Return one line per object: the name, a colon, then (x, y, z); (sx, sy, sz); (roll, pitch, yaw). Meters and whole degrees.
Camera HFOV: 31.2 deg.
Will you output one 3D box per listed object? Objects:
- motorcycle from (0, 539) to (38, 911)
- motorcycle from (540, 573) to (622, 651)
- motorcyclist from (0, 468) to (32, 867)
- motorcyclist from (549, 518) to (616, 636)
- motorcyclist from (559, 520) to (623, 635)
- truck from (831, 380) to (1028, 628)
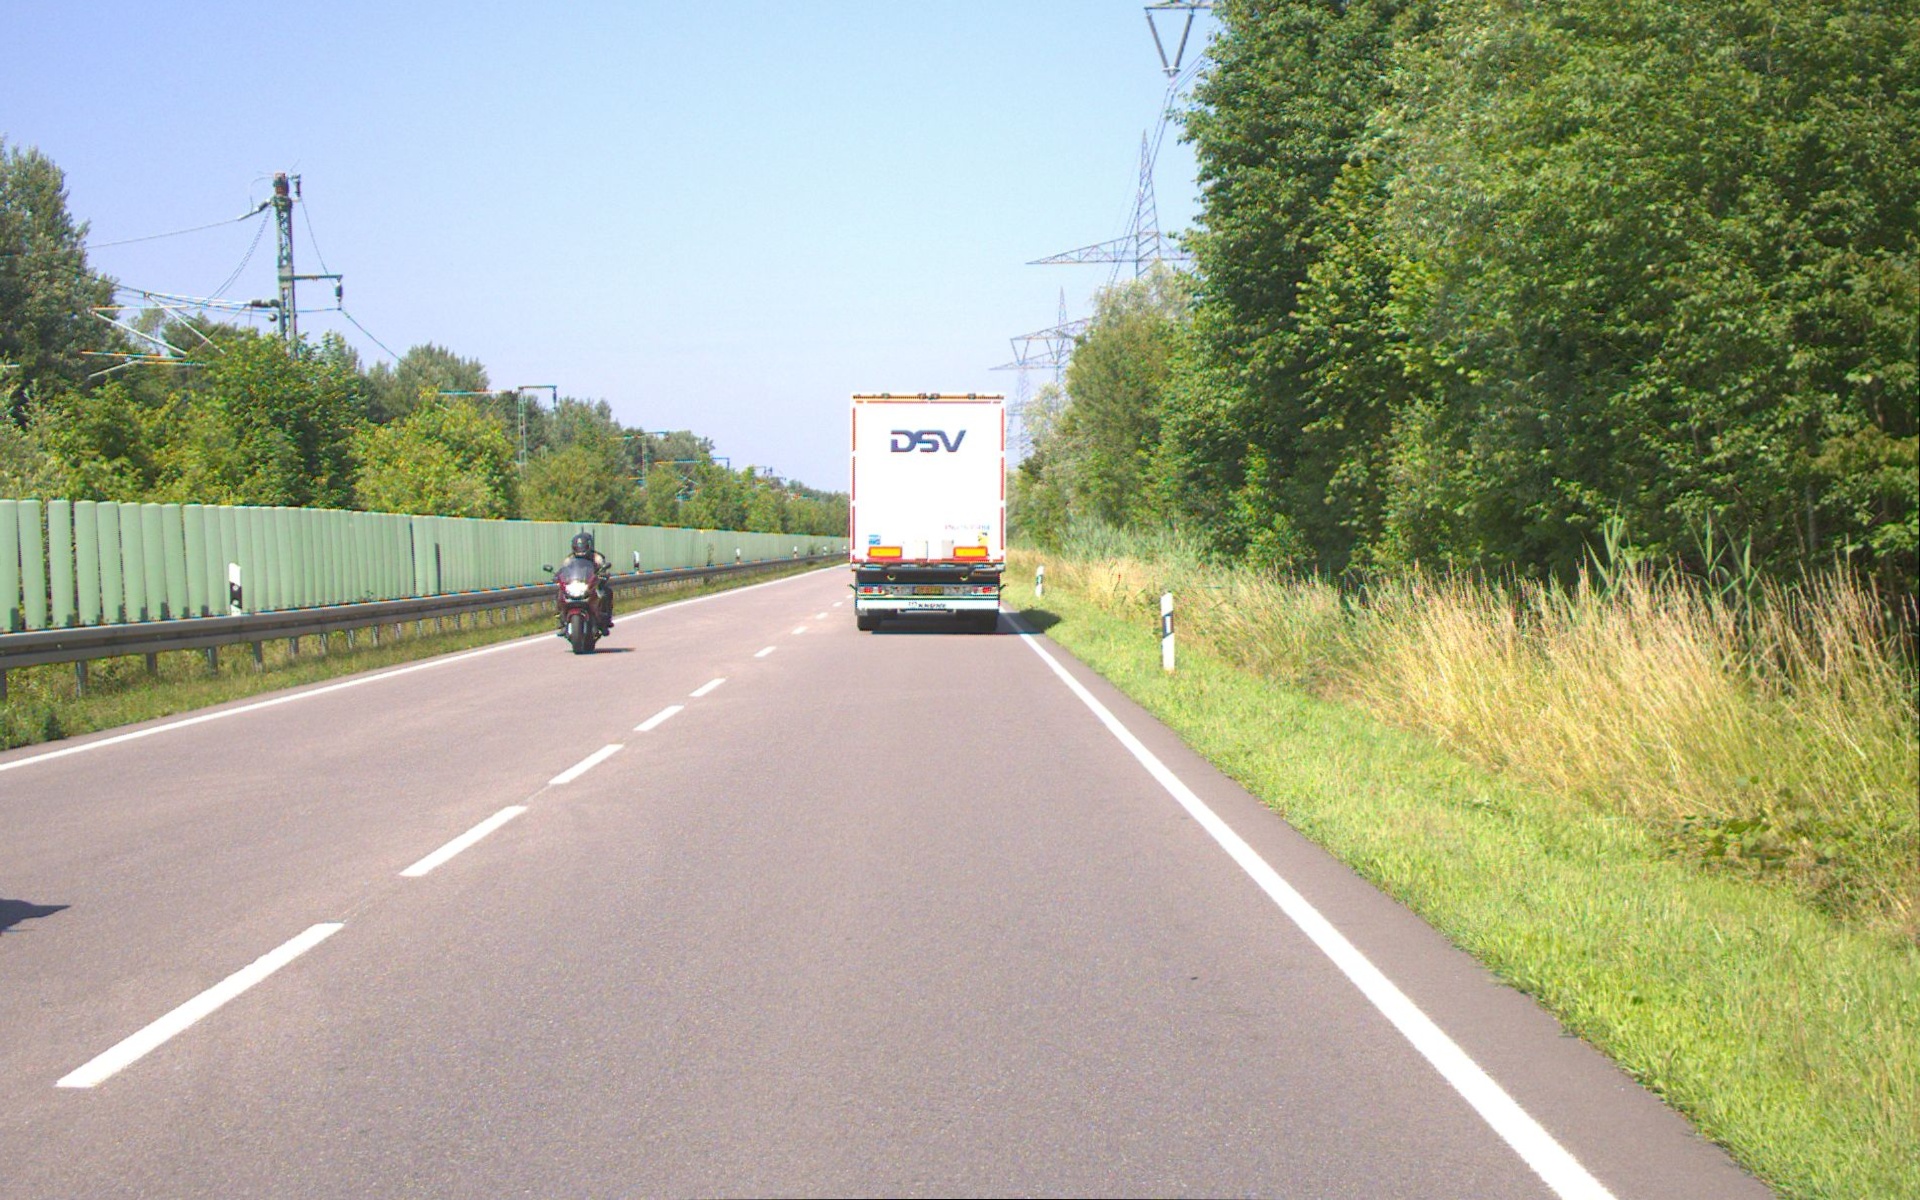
motorcycle: (-4.353, 0.516, 12.988); (0.968, 1.491, 2.630); (-1, 1, 1)
motorcycle: (-5.171, 0.148, 47.079); (0.754, 1.010, 2.721); (1, 1, 1)
motorcyclist: (-4.332, 0.267, 13.696); (0.959, 1.604, 1.003); (1, 1, 1)
motorcyclist: (-5.155, -0.313, 46.969); (0.758, 1.577, 1.003); (1, 1, 1)
motorcyclist: (-5.142, -0.319, 47.920); (0.749, 1.577, 0.863); (1, 1, 1)
truck: (-0.584, -1.676, 62.031); (3.192, 4.029, 12.008); (0, 1, -1)
